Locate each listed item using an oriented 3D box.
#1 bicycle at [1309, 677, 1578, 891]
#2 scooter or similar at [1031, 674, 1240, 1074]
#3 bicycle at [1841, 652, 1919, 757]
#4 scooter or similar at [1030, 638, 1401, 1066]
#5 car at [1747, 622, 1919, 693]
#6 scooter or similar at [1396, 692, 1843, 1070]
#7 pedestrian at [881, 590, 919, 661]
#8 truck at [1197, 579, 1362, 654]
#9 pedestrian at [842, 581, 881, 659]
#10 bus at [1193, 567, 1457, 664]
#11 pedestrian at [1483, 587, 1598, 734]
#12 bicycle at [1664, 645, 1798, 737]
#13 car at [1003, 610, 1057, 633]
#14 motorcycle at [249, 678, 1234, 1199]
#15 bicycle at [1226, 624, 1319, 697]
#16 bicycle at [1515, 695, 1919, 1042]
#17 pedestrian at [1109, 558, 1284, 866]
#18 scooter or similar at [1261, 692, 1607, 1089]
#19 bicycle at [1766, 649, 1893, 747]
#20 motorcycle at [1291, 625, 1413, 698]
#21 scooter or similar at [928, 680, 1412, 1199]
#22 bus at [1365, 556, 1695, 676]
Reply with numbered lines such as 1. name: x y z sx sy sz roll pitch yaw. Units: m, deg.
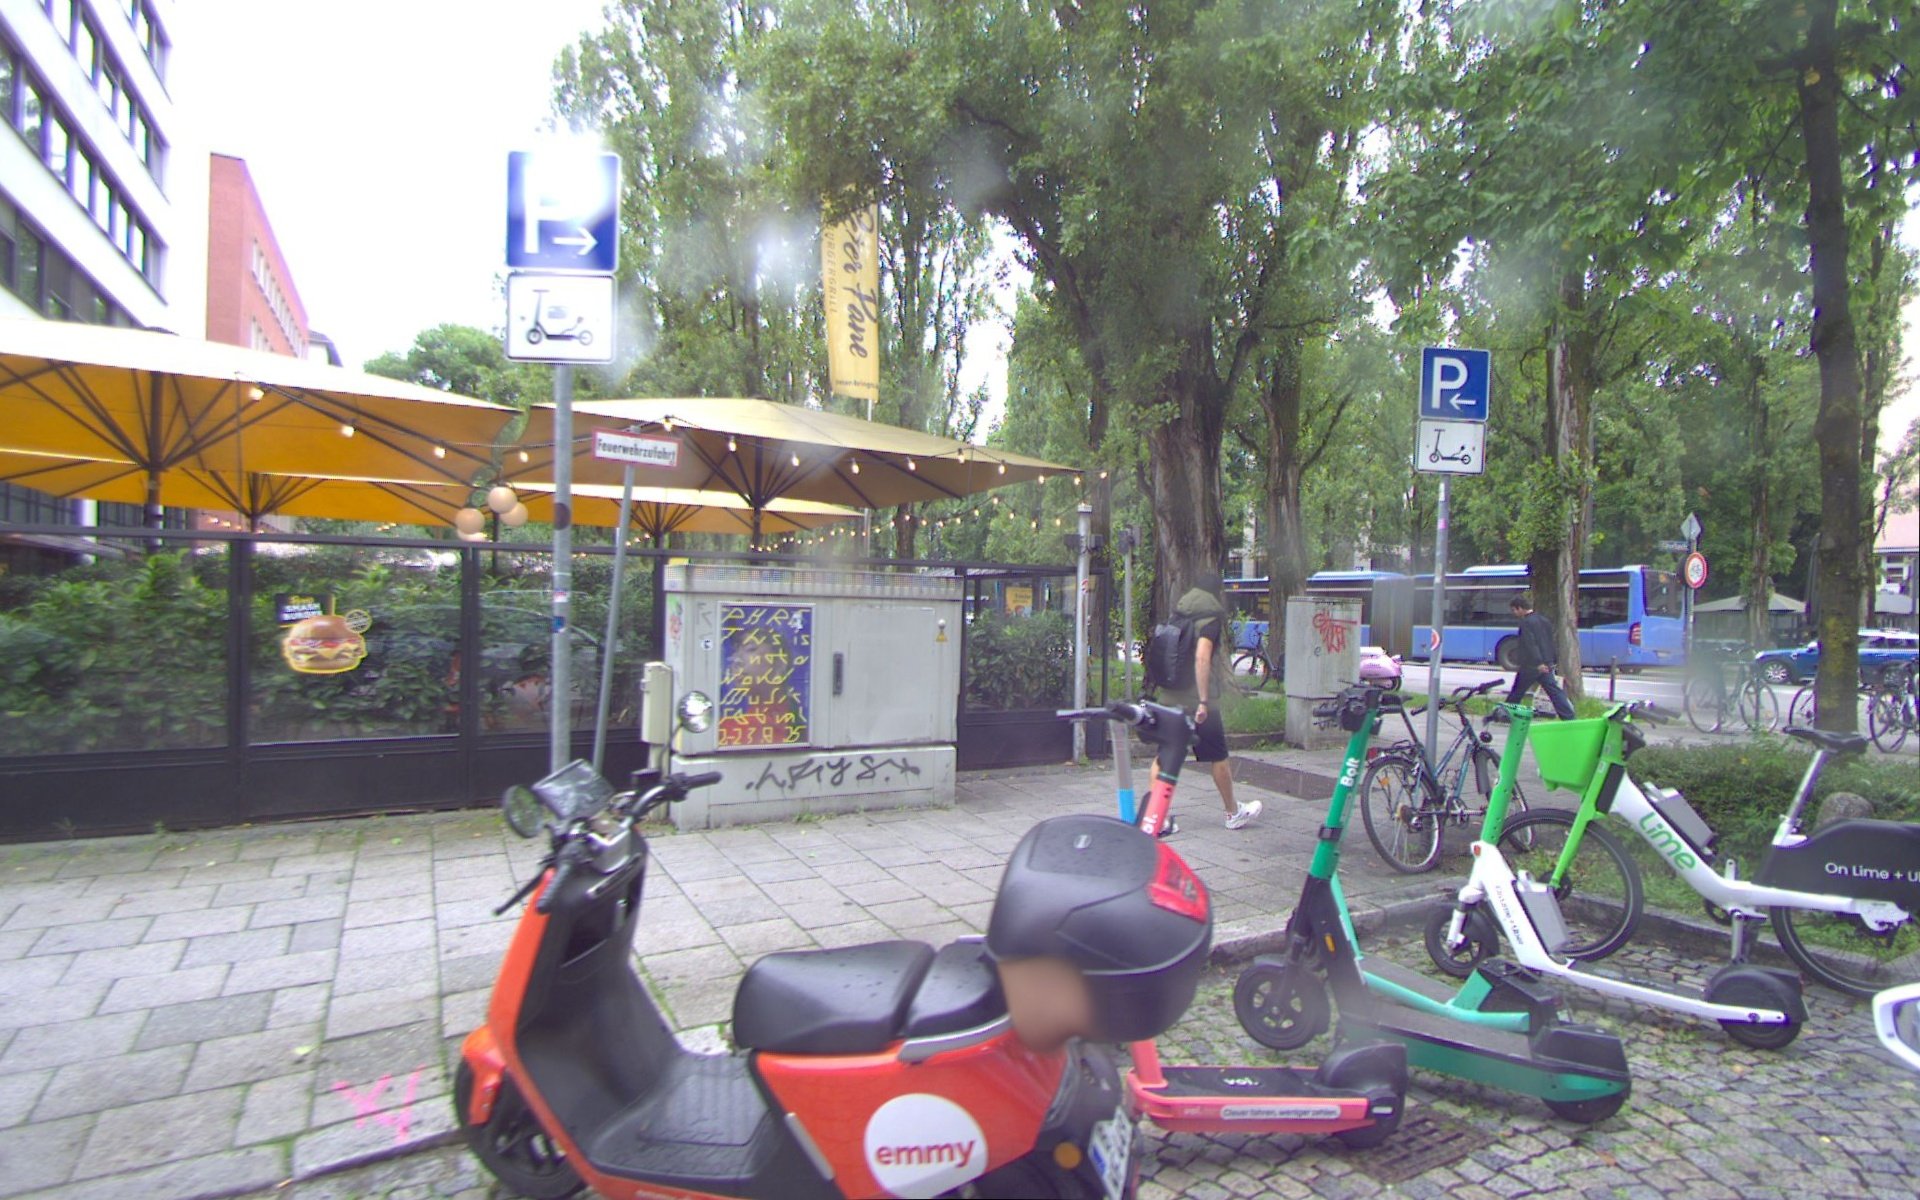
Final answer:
1. bicycle: 2.857 1.004 5.876 1.742 1.036 0.549 1 0 -31
2. scooter or similar: 0.720 0.922 3.846 0.383 1.195 1.249 1 0 29
3. bicycle: 10.726 1.156 11.362 1.679 1.108 0.489 1 0 -24
4. scooter or similar: 0.881 0.803 3.589 1.229 1.290 0.327 1 0 31
5. car: 24.548 1.542 27.735 1.772 1.754 4.046 3 -1 -29
6. scooter or similar: 2.518 0.999 3.963 1.407 1.159 0.368 1 0 38
7. pedestrian: -1.514 0.630 25.316 0.635 1.750 0.700 1 0 38
8. truck: 13.540 0.667 43.267 2.568 2.946 7.030 1 -1 -27
9. pedestrian: -2.484 0.492 25.346 0.635 1.933 0.700 1 0 38
10. bus: 13.024 0.563 37.153 2.891 3.092 9.722 1 -1 -29
11. pedestrian: 7.228 0.733 12.520 0.848 1.734 0.951 1 -1 -30
12. bicycle: 9.961 1.154 12.966 1.956 1.108 0.489 1 0 -24
13. car: 4.557 1.390 65.780 1.771 1.431 3.853 1 -1 -28
14. motorcycle: -0.442 0.837 2.180 1.951 1.212 0.771 1 0 18
15. bicycle: 5.482 1.038 17.697 0.576 1.204 1.604 1 0 -28
16. bicycle: 3.290 1.039 4.135 1.731 1.158 0.553 1 0 31
17. pedestrian: 1.475 0.646 6.329 0.697 1.796 0.746 1 2 -29
18. scooter or similar: 1.734 0.989 3.846 0.323 1.159 1.242 1 0 -28
19. bicycle: 10.503 1.161 12.129 1.679 1.108 0.489 1 0 -24
20. motorcycle: 6.859 1.057 17.657 1.951 1.212 0.630 0 -1 18
21. scooter or similar: 0.605 0.884 2.820 1.336 1.290 0.326 1 0 -19
22. bus: 16.692 0.468 30.301 2.891 3.092 8.455 1 -1 -28
